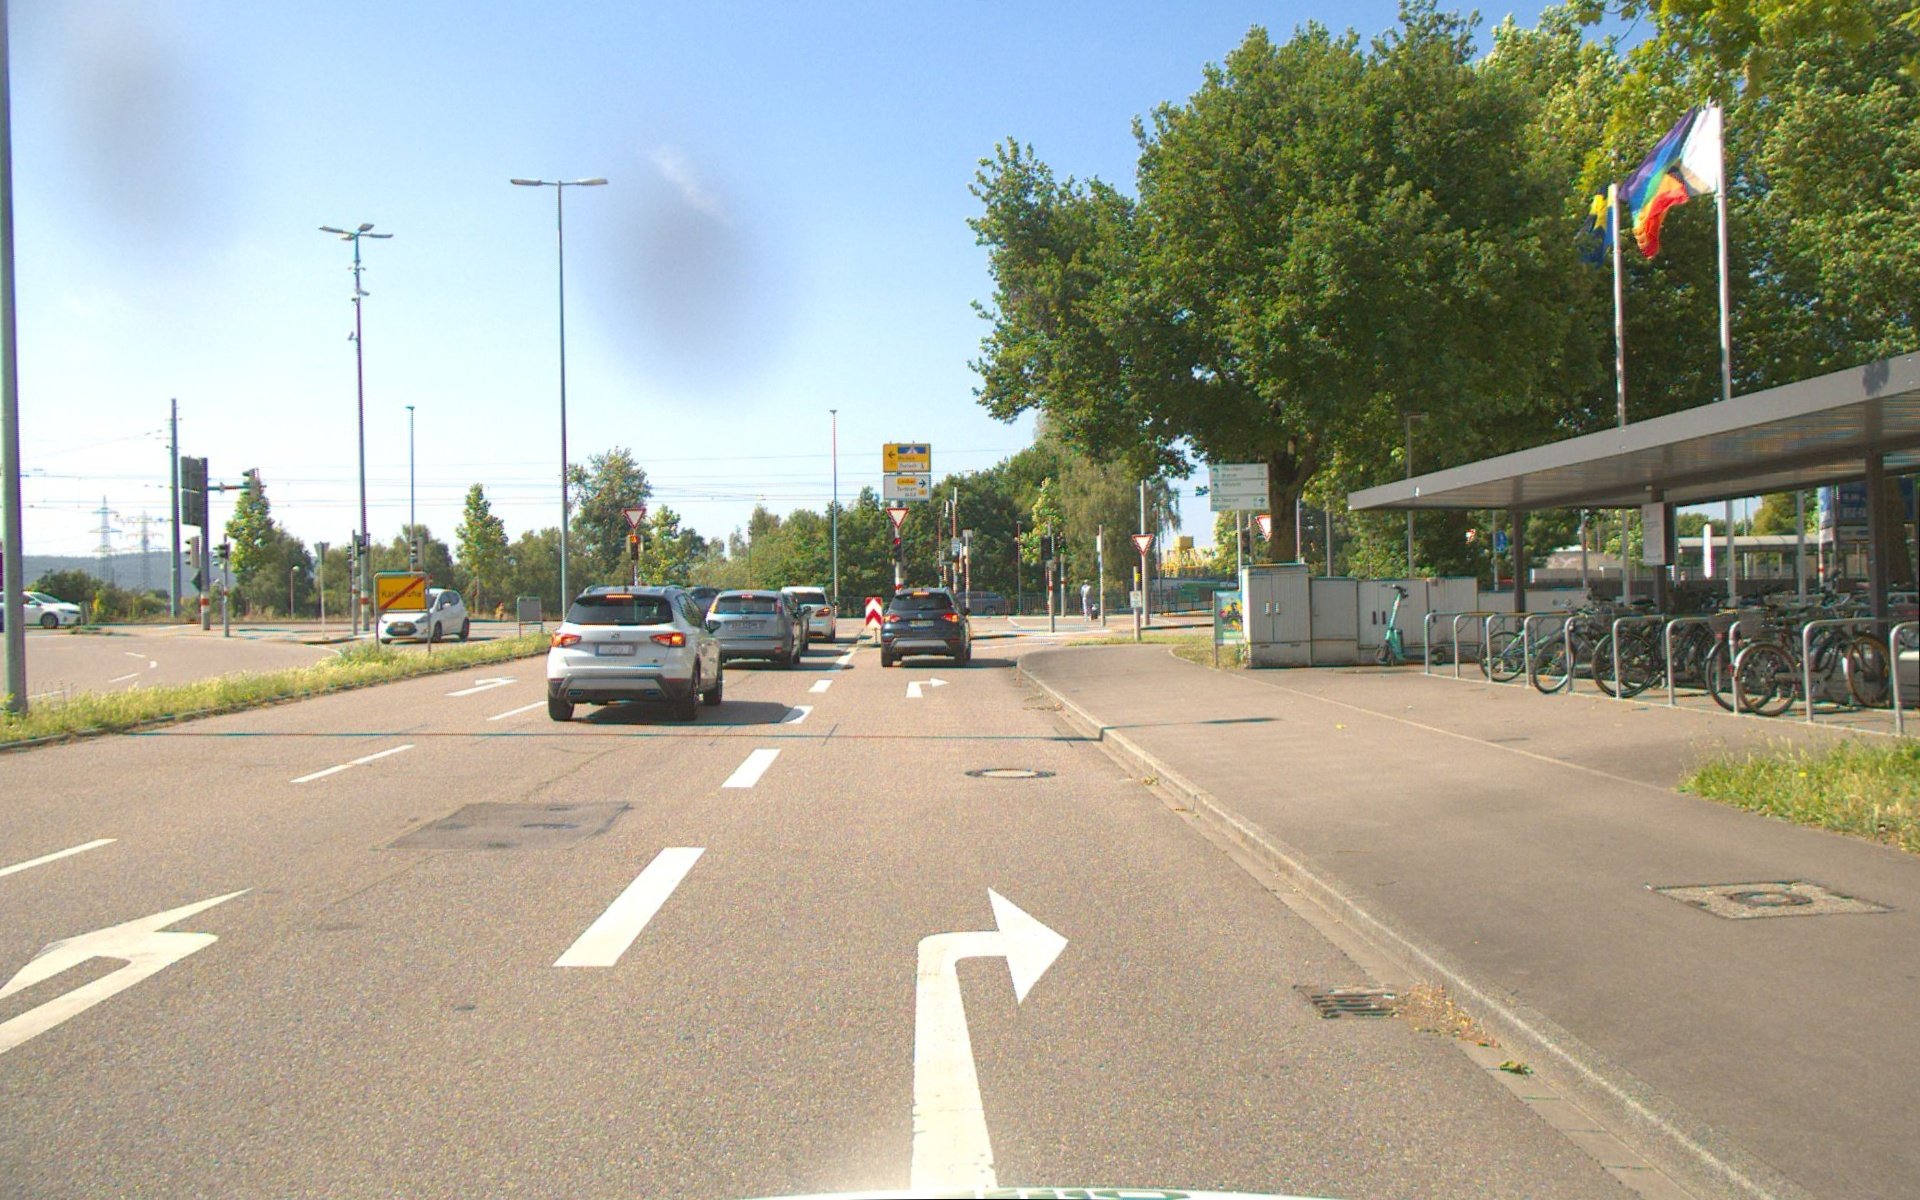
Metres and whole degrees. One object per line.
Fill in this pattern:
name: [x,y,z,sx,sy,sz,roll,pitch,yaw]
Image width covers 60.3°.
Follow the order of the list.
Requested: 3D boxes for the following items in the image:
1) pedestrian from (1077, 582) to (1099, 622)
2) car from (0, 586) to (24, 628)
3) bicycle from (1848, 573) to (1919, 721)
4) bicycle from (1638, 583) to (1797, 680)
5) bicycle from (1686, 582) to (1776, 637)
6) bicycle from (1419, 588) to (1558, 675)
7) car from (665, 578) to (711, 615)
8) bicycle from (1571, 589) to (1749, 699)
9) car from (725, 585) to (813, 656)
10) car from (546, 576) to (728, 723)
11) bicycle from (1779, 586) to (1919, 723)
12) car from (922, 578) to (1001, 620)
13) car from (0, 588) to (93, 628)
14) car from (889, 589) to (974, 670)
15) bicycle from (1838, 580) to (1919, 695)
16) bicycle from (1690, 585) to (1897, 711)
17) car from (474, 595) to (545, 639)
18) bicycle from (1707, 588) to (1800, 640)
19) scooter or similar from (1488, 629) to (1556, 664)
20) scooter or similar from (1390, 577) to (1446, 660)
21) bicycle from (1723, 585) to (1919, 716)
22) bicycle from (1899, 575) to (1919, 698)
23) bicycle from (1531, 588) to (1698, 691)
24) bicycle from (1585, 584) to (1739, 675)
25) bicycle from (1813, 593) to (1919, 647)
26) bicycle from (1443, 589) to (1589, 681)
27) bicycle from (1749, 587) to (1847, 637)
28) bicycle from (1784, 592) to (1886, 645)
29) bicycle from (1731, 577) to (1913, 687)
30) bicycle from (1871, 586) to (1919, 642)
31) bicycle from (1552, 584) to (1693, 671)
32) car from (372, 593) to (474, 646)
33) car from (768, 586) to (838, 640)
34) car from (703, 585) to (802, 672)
pedestrian: [5.012,0.073,64.766,0.756,1.537,1.008,-1,1,9]
car: [-37.682,0.299,62.935,3.319,1.526,1.408,-1,-1,-4]
bicycle: [7.926,0.336,12.916,1.723,1.115,0.463,-2,0,-2]
bicycle: [9.234,0.376,20.177,1.723,1.115,0.452,-2,0,-2]
bicycle: [14.883,0.177,31.937,1.529,1.012,0.434,-1,0,0]
bicycle: [7.138,0.421,22.374,1.723,1.115,0.452,-2,0,-2]
car: [-12.987,-0.203,79.160,1.594,1.653,3.916,-1,1,-1]
bicycle: [7.529,0.466,17.814,1.723,1.115,0.452,-2,0,-2]
car: [-4.486,0.440,39.283,1.702,1.538,4.199,-2,0,-2]
car: [-3.857,0.520,20.302,1.598,1.524,3.869,-1,2,-2]
bicycle: [7.960,0.446,14.094,1.723,1.115,0.452,-2,0,-2]
car: [0.067,-0.046,86.791,3.910,2.049,1.997,-1,-1,-6]
car: [-36.727,0.319,66.163,3.279,1.526,1.408,-1,-1,-6]
car: [-0.607,0.569,33.789,1.636,1.550,3.375,0,0,-2]
bicycle: [9.808,0.356,16.622,1.723,1.115,0.452,-2,0,-2]
bicycle: [7.868,0.446,15.632,1.723,1.115,0.452,-2,0,-2]
car: [-11.346,0.412,41.765,1.094,1.021,2.492,-2,0,0]
bicycle: [14.873,0.263,31.016,1.529,0.925,0.434,-1,0,0]
scooter or similar: [8.249,0.680,24.306,0.897,0.459,0.962,-3,-1,18]
scooter or similar: [7.267,0.287,26.265,0.761,1.287,0.283,-2,0,-5]
bicycle: [7.902,0.450,15.021,1.723,1.115,0.452,-2,0,-2]
bicycle: [9.621,0.308,15.199,1.723,1.115,0.452,-2,0,-2]
bicycle: [7.493,0.446,18.964,1.723,1.115,0.452,-2,0,-2]
bicycle: [9.073,0.376,21.388,1.792,1.115,0.452,-2,0,-2]
bicycle: [15.014,0.333,27.411,1.529,0.858,0.434,-1,0,0]
bicycle: [7.177,0.446,21.375,1.723,1.115,0.452,-2,0,-2]
bicycle: [14.993,0.217,29.594,1.529,0.858,0.434,-1,0,0]
bicycle: [15.005,0.316,28.379,1.530,0.858,0.433,-1,0,-3]
bicycle: [9.313,0.341,17.890,1.723,1.115,0.452,-2,0,-2]
bicycle: [15.134,0.204,25.855,1.529,0.858,0.434,-1,0,0]
bicycle: [9.007,0.363,22.501,1.723,1.115,0.452,-2,0,-2]
car: [-16.796,0.601,51.915,1.757,1.574,4.087,-1,0,2]
car: [-4.484,0.339,47.680,1.706,1.473,4.387,-1,0,-2]
car: [-4.049,0.515,32.790,1.672,1.600,4.171,0,0,-3]
